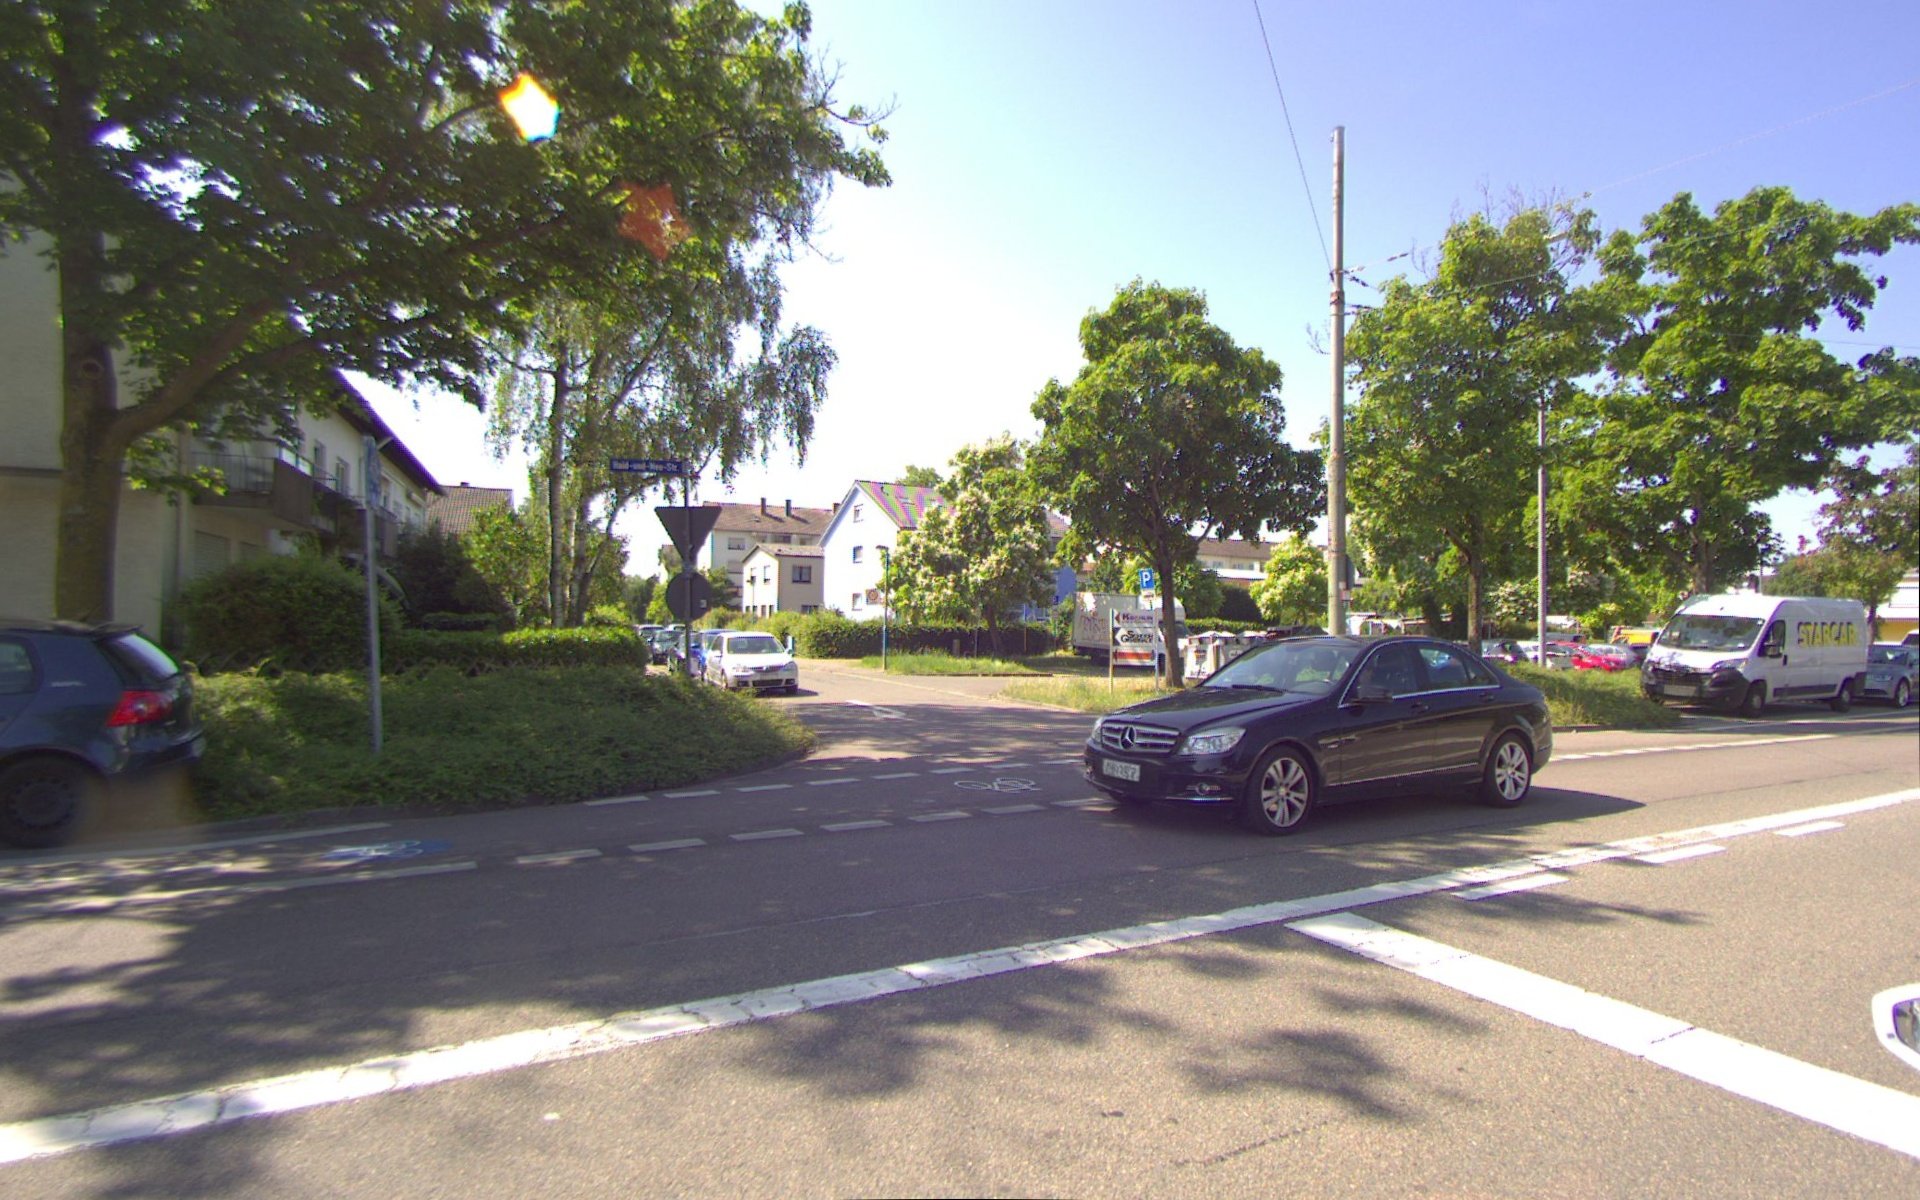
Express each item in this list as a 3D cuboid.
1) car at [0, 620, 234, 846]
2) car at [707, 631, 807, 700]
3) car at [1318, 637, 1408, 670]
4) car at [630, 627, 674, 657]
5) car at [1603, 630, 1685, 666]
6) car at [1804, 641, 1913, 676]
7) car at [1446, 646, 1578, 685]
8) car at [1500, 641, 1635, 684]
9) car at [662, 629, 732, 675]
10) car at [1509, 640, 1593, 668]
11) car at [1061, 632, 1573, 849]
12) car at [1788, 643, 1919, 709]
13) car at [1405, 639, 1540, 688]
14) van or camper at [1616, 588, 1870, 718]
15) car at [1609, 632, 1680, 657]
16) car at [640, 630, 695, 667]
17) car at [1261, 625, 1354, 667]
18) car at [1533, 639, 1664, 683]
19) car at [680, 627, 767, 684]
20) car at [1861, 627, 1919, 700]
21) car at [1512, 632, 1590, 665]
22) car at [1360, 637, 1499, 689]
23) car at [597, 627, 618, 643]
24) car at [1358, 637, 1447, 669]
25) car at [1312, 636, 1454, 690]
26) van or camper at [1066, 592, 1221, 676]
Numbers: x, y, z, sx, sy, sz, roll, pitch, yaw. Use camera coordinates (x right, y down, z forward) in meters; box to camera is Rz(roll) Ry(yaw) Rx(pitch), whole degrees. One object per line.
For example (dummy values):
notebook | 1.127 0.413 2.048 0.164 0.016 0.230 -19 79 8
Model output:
car | -7.533 0.860 6.789 4.033 1.470 1.609 2 -2 -29
car | -5.081 1.540 24.741 1.781 1.545 3.981 0 -2 -21
car | 20.407 2.675 51.026 1.766 1.564 3.964 2 -2 -33
car | -16.147 2.178 52.543 1.740 1.475 3.978 2 -2 -23
car | 44.074 3.057 64.803 1.890 2.229 3.964 2 -2 -33
car | 47.054 3.034 52.660 1.645 1.716 3.966 2 -2 -31
car | 19.790 2.325 36.160 1.644 1.287 3.897 2 -2 -30
car | 22.337 2.272 37.086 1.712 1.428 3.968 2 -2 -30
car | -9.059 1.760 34.404 1.740 1.475 3.978 2 -2 -23
car | 34.932 3.157 59.489 1.766 1.564 3.964 2 -2 -33
car | 3.091 1.018 8.489 4.254 1.428 1.777 2 -3 -30
car | 22.892 1.837 25.060 4.829 1.474 1.923 2 -2 -31
car | 17.779 2.159 35.037 1.644 1.564 3.969 2 -2 -30
van or camper | 17.378 1.145 22.210 6.072 2.548 2.248 2 -2 -29
car | 61.488 3.993 90.295 2.077 2.202 4.902 2 -2 -32
car | -12.438 2.031 42.533 1.740 1.475 3.978 2 -2 -23
car | 16.466 2.146 47.737 1.766 1.915 3.964 2 -2 -33
car | 24.420 2.304 38.544 1.644 1.564 3.969 2 -2 -30
car | -6.975 1.589 29.352 1.782 1.545 3.978 2 -2 -23
car | 28.003 1.789 28.739 5.132 1.966 2.182 2 -2 -34
car | 38.195 3.116 64.982 1.890 2.029 3.964 2 -2 -33
car | 15.407 2.051 33.146 1.645 1.564 3.967 2 -2 -31
car | -33.325 3.297 94.904 1.717 1.550 3.897 1 -2 -21
car | 23.011 2.739 52.364 1.766 1.564 3.964 2 -2 -33
car | 13.363 1.963 31.940 1.645 1.564 3.967 2 -2 -31
van or camper | 7.718 1.380 43.212 2.553 3.287 6.913 2 -1 -31
